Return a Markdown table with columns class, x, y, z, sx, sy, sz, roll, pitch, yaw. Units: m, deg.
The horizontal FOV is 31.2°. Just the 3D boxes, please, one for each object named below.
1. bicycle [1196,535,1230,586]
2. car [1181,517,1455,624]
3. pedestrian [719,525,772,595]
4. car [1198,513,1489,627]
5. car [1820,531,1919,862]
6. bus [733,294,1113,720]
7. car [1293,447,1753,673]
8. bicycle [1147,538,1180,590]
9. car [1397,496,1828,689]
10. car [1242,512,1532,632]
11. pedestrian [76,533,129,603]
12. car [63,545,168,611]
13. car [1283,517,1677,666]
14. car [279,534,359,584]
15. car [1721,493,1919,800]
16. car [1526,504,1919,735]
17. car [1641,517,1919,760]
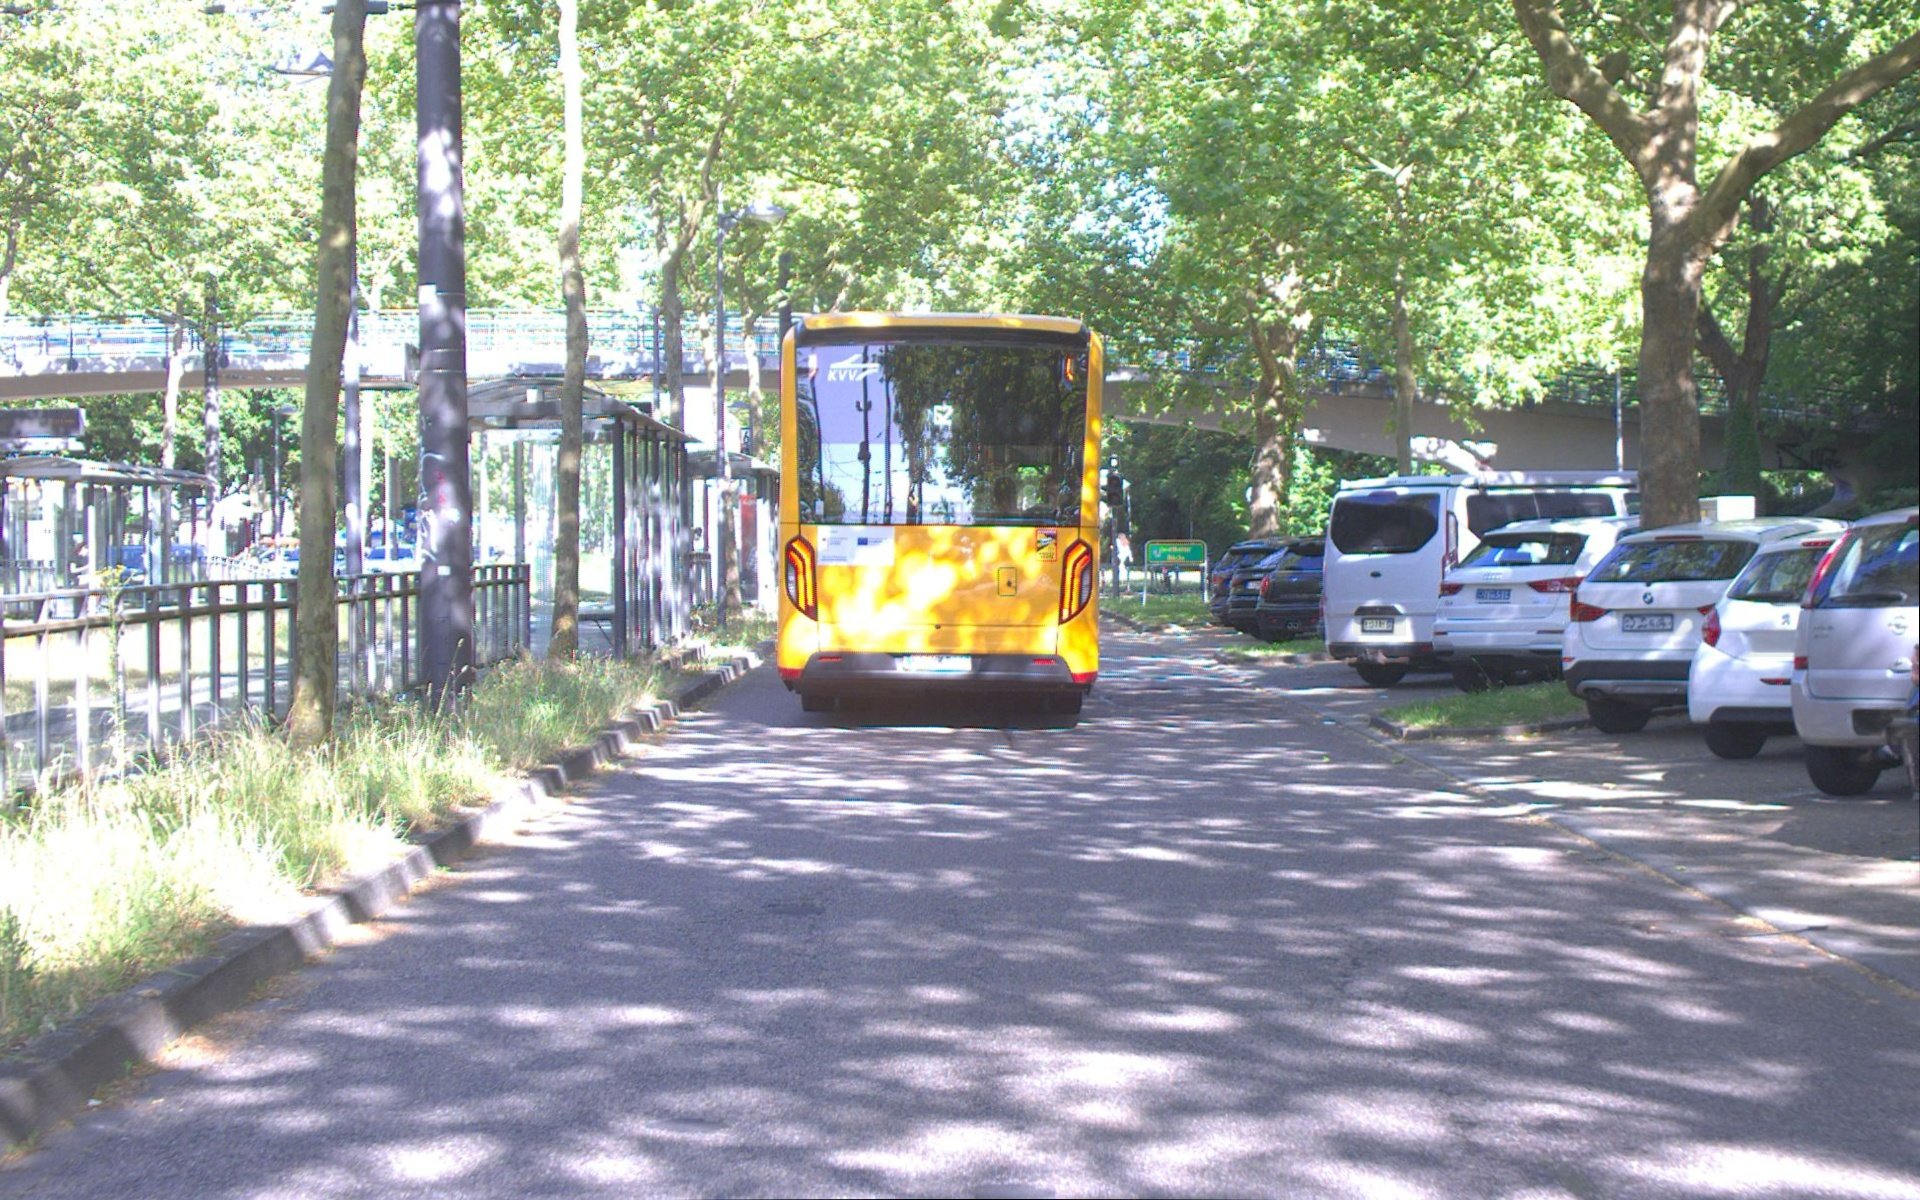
| class | x | y | z | sx | sy | sz | roll | pitch | yaw |
| --- | --- | --- | --- | --- | --- | --- | --- | --- | --- |
| bicycle | 6.099 | -0.959 | 82.930 | 0.590 | 1.178 | 1.800 | -4 | 2 | -1 |
| car | 5.655 | -0.478 | 54.053 | 4.245 | 1.456 | 1.799 | -4 | 1 | -40 |
| pedestrian | -3.849 | -0.726 | 61.697 | 0.855 | 1.238 | 0.850 | 1 | 1 | 1 |
| car | 5.708 | -0.455 | 50.879 | 4.244 | 1.456 | 1.799 | -4 | 1 | -40 |
| car | 6.147 | 0.310 | 15.850 | 4.396 | 1.423 | 1.951 | -4 | 1 | -39 |
| bus | -0.421 | -0.825 | 32.551 | 2.899 | 3.255 | 12.219 | 0 | 1 | -1 |
| car | 5.741 | -0.426 | 34.757 | 4.577 | 2.045 | 2.017 | -4 | 1 | -40 |
| bicycle | 4.902 | -0.871 | 82.976 | 0.590 | 1.178 | 1.800 | -4 | 2 | -1 |
| car | 6.103 | -0.090 | 31.918 | 4.047 | 1.575 | 1.832 | -4 | 1 | -43 |
| car | 5.956 | -0.398 | 47.720 | 3.989 | 1.463 | 1.782 | -4 | 1 | -43 |
| pedestrian | -15.150 | -0.571 | 60.744 | 0.778 | 1.233 | 0.722 | 0 | 1 | -2 |
| car | -20.988 | -0.562 | 85.532 | 1.794 | 1.561 | 4.288 | -1 | 1 | -4 |
| car | 5.880 | -0.113 | 38.526 | 4.577 | 1.418 | 1.799 | -4 | 1 | -41 |
| car | -20.728 | -1.332 | 111.333 | 1.794 | 1.575 | 4.288 | 0 | 1 | 0 |
| car | 6.233 | 0.153 | 19.344 | 3.989 | 1.584 | 1.799 | -4 | 1 | -43 |
| car | 6.156 | 0.090 | 25.517 | 1.798 | 1.505 | 4.202 | -2 | 1 | 42 |
| car | 6.403 | 0.173 | 22.611 | 1.831 | 1.414 | 3.990 | -2 | 2 | 45 |
